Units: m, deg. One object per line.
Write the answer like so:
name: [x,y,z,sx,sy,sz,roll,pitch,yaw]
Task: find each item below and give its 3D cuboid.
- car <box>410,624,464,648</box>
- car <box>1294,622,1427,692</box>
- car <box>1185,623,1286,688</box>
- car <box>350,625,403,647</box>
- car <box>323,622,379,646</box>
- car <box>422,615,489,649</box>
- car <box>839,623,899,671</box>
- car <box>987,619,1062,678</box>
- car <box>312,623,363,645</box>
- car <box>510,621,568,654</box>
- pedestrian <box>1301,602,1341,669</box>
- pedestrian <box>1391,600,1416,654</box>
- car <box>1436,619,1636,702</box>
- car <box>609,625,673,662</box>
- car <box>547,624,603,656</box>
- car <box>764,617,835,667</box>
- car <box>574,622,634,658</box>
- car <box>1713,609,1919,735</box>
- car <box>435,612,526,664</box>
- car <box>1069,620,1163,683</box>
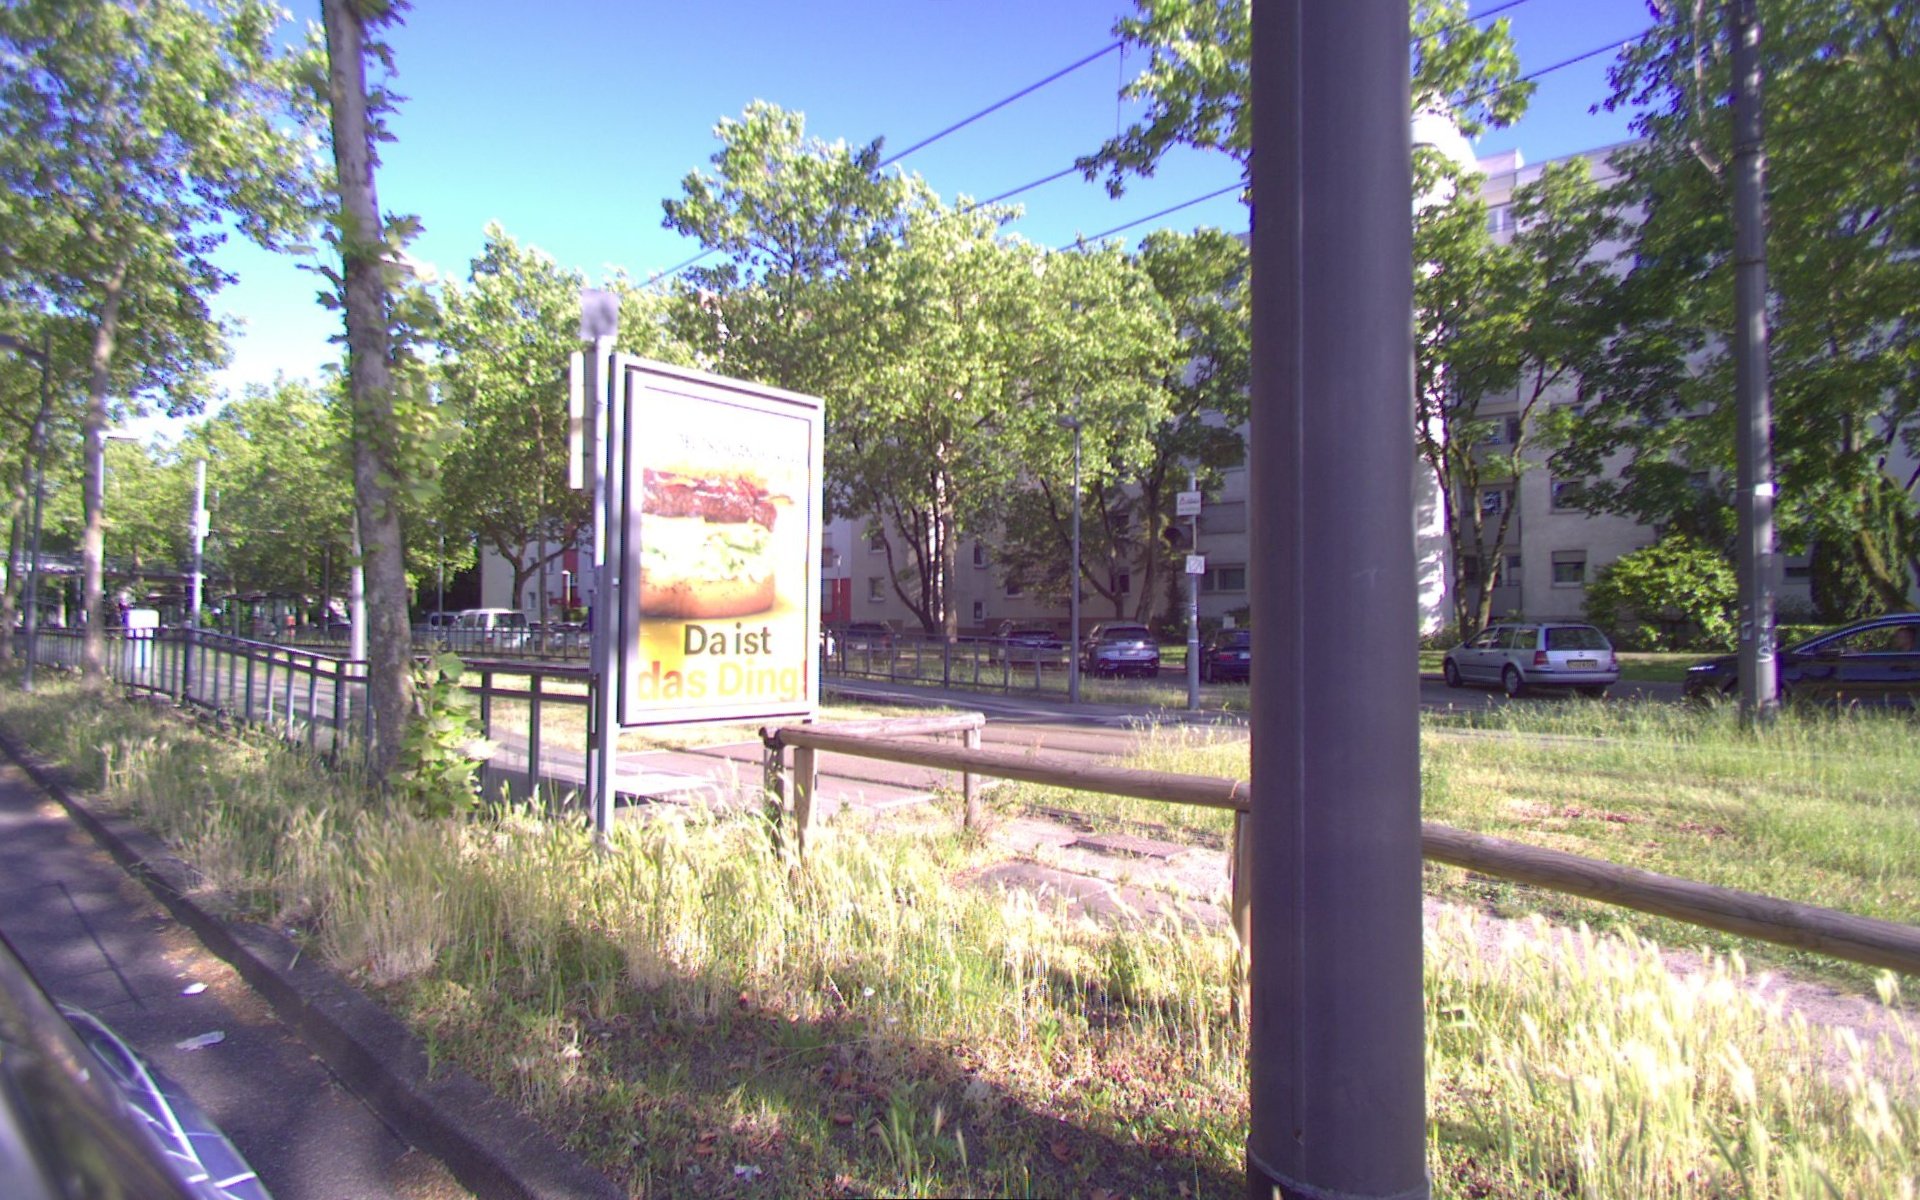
car: [-30.638,2.109,59.379,1.459,1.354,3.488,0,-1,-1]
car: [9.178,1.257,23.488,1.553,1.431,3.620,-1,-1,-1]
car: [6.787,1.334,25.298,1.572,1.360,3.922,-1,0,3]
car: [-37.888,2.333,65.781,1.459,1.330,3.488,0,-1,-1]
car: [-40.794,2.258,67.878,1.578,1.582,3.830,0,-1,-3]
car: [-28.469,1.786,57.273,1.843,1.826,4.048,0,-1,-1]
car: [-3.057,1.558,34.588,1.538,1.439,3.761,-1,0,3]
car: [1.835,1.377,29.742,1.669,1.499,4.003,-1,0,-4]
car: [-44.726,2.434,72.773,1.578,1.538,3.737,0,-1,-3]
car: [-21.133,1.879,50.913,1.539,1.436,3.489,-3,0,-2]
pedestrian: [9.784,0.960,27.428,0.755,1.770,0.752,-2,-2,41]
pedestrian: [14.879,0.903,33.976,0.634,1.770,0.516,-1,-2,39]
car: [11.566,1.157,20.676,1.685,1.454,3.978,-1,0,-2]
car: [-13.990,1.864,44.567,1.470,1.425,3.880,-1,0,3]
car: [-18.739,1.938,49.388,1.459,1.339,3.488,-2,0,-1]
car: [-5.832,1.486,37.164,1.791,1.607,3.997,-1,0,3]
car: [-16.479,1.816,46.947,1.445,1.519,3.393,-1,0,3]
car: [12.186,0.875,12.829,4.100,1.523,1.746,-1,-2,41]
car: [-19.552,1.505,41.195,4.652,2.007,1.772,-2,-2,43]
car: [4.180,1.346,27.664,1.650,1.469,4.004,-1,0,-4]
